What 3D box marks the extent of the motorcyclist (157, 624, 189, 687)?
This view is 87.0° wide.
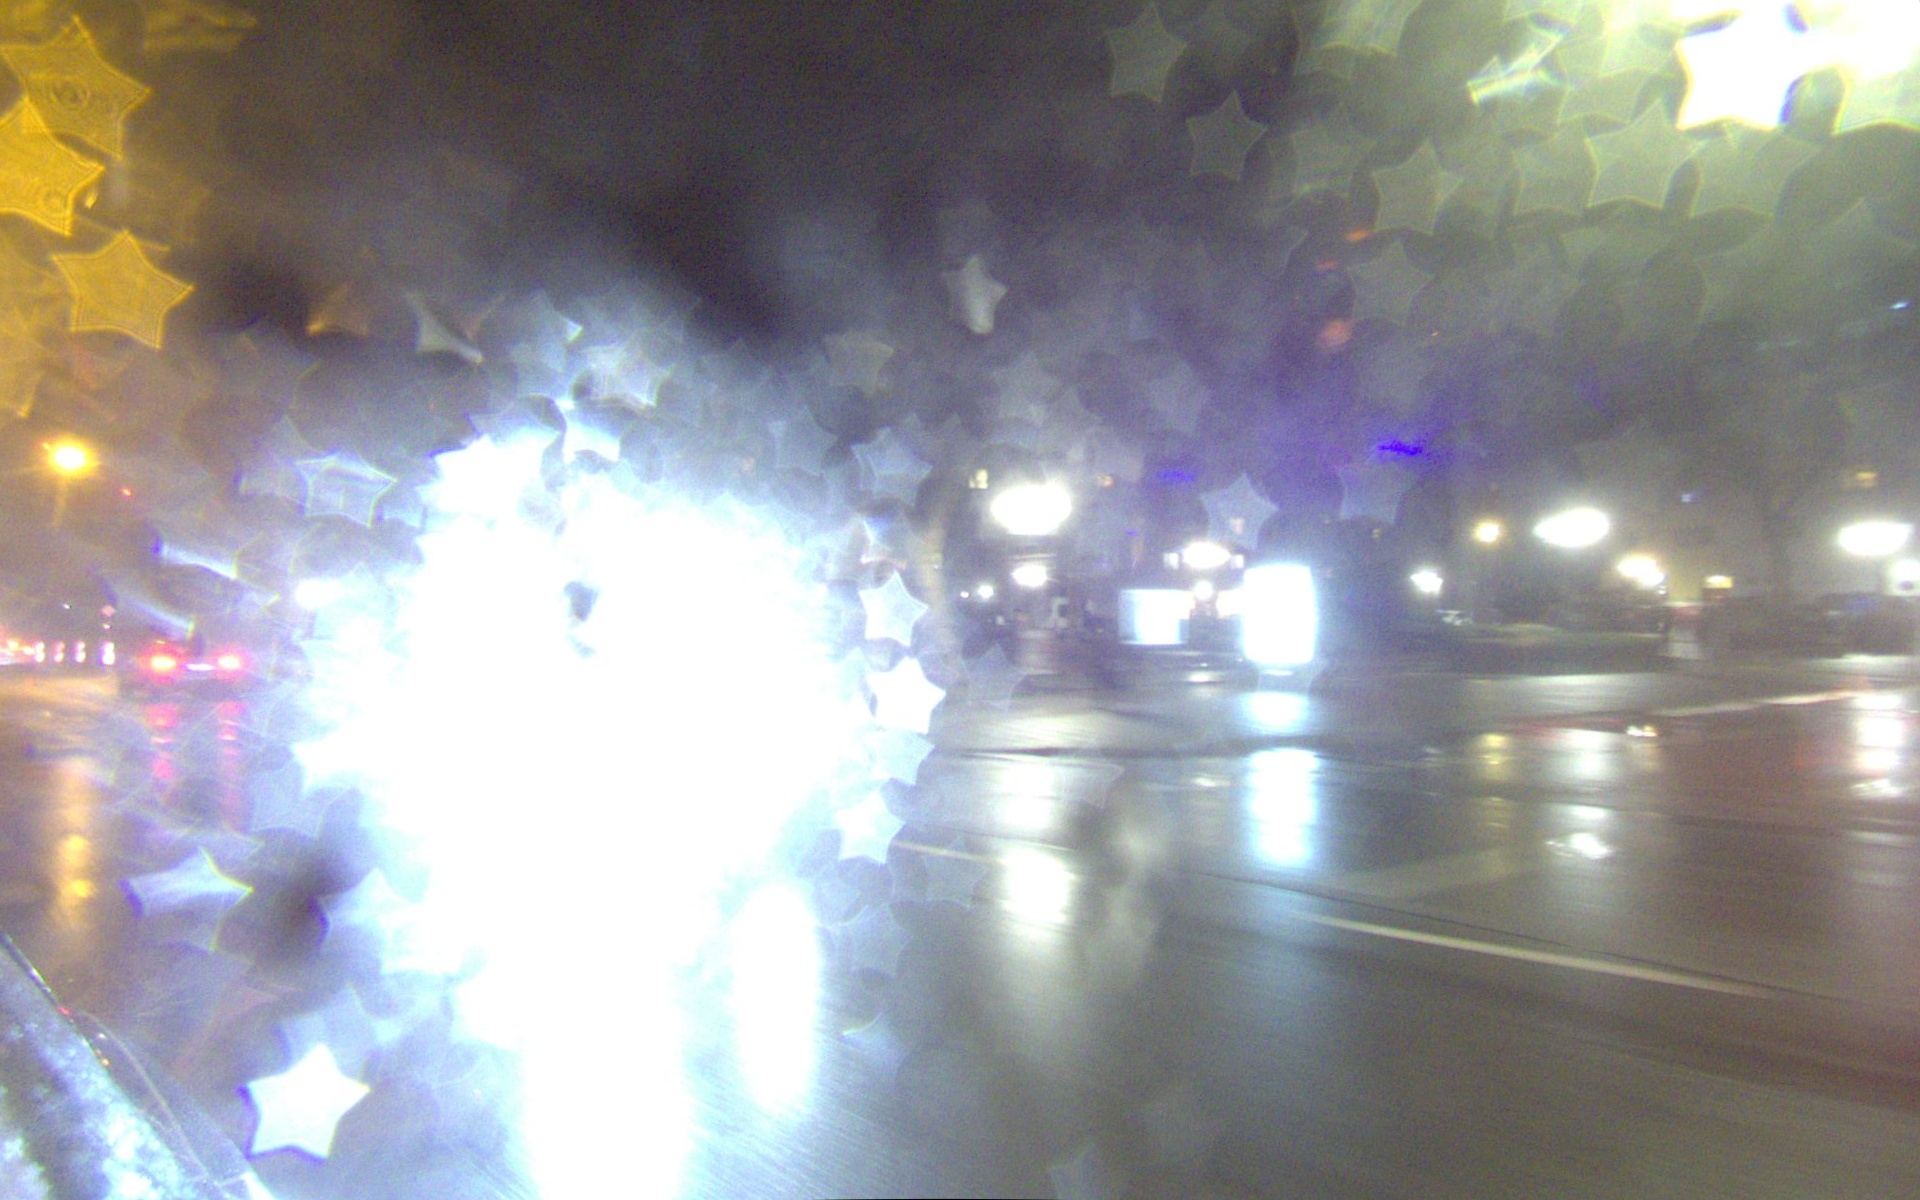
[{"bbox_3d":[-26.016,1.835,33.438,0.982,2.029,0.685,-3,-3,43],"label":"motorcyclist"}]

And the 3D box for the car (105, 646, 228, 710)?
[{"bbox_3d":[-20.538,1.987,26.146,4.104,1.523,1.629,-3,-5,39],"label":"car"}]

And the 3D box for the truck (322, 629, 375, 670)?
[{"bbox_3d":[-32.697,2.655,54.262,2.093,2.029,5.278,-1,-2,-28],"label":"truck"}]

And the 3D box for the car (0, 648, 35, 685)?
[{"bbox_3d":[-41.689,2.878,43.706,4.763,1.511,1.834,-3,-3,38],"label":"car"}]

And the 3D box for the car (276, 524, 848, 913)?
[{"bbox_3d":[-3.319,0.723,7.666,5.200,1.968,2.011,-4,-3,43],"label":"car"}]

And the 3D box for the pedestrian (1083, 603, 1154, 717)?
[{"bbox_3d":[2.510,0.933,16.126,0.758,1.749,0.972,-1,-2,-12],"label":"pedestrian"}]

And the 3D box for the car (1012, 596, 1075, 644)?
[{"bbox_3d":[4.985,1.232,60.692,1.689,2.752,4.369,-1,-1,-26],"label":"car"}]

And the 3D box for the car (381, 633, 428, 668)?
[{"bbox_3d":[-25.039,2.248,45.728,1.689,1.442,3.931,-1,-1,-26],"label":"car"}]

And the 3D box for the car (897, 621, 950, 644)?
[{"bbox_3d":[-2.546,2.209,69.175,1.838,1.454,4.508,-1,-1,-27],"label":"car"}]

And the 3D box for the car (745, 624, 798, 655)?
[{"bbox_3d":[-9.859,2.053,52.858,1.689,1.532,3.931,-1,-1,-26],"label":"car"}]

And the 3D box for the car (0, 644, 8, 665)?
[{"bbox_3d":[-76.883,4.334,80.439,1.580,1.617,4.260,4,-5,-45],"label":"car"}]

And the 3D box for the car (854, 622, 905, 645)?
[{"bbox_3d":[-5.452,2.278,68.199,1.838,1.454,4.508,-1,-1,-27],"label":"car"}]
